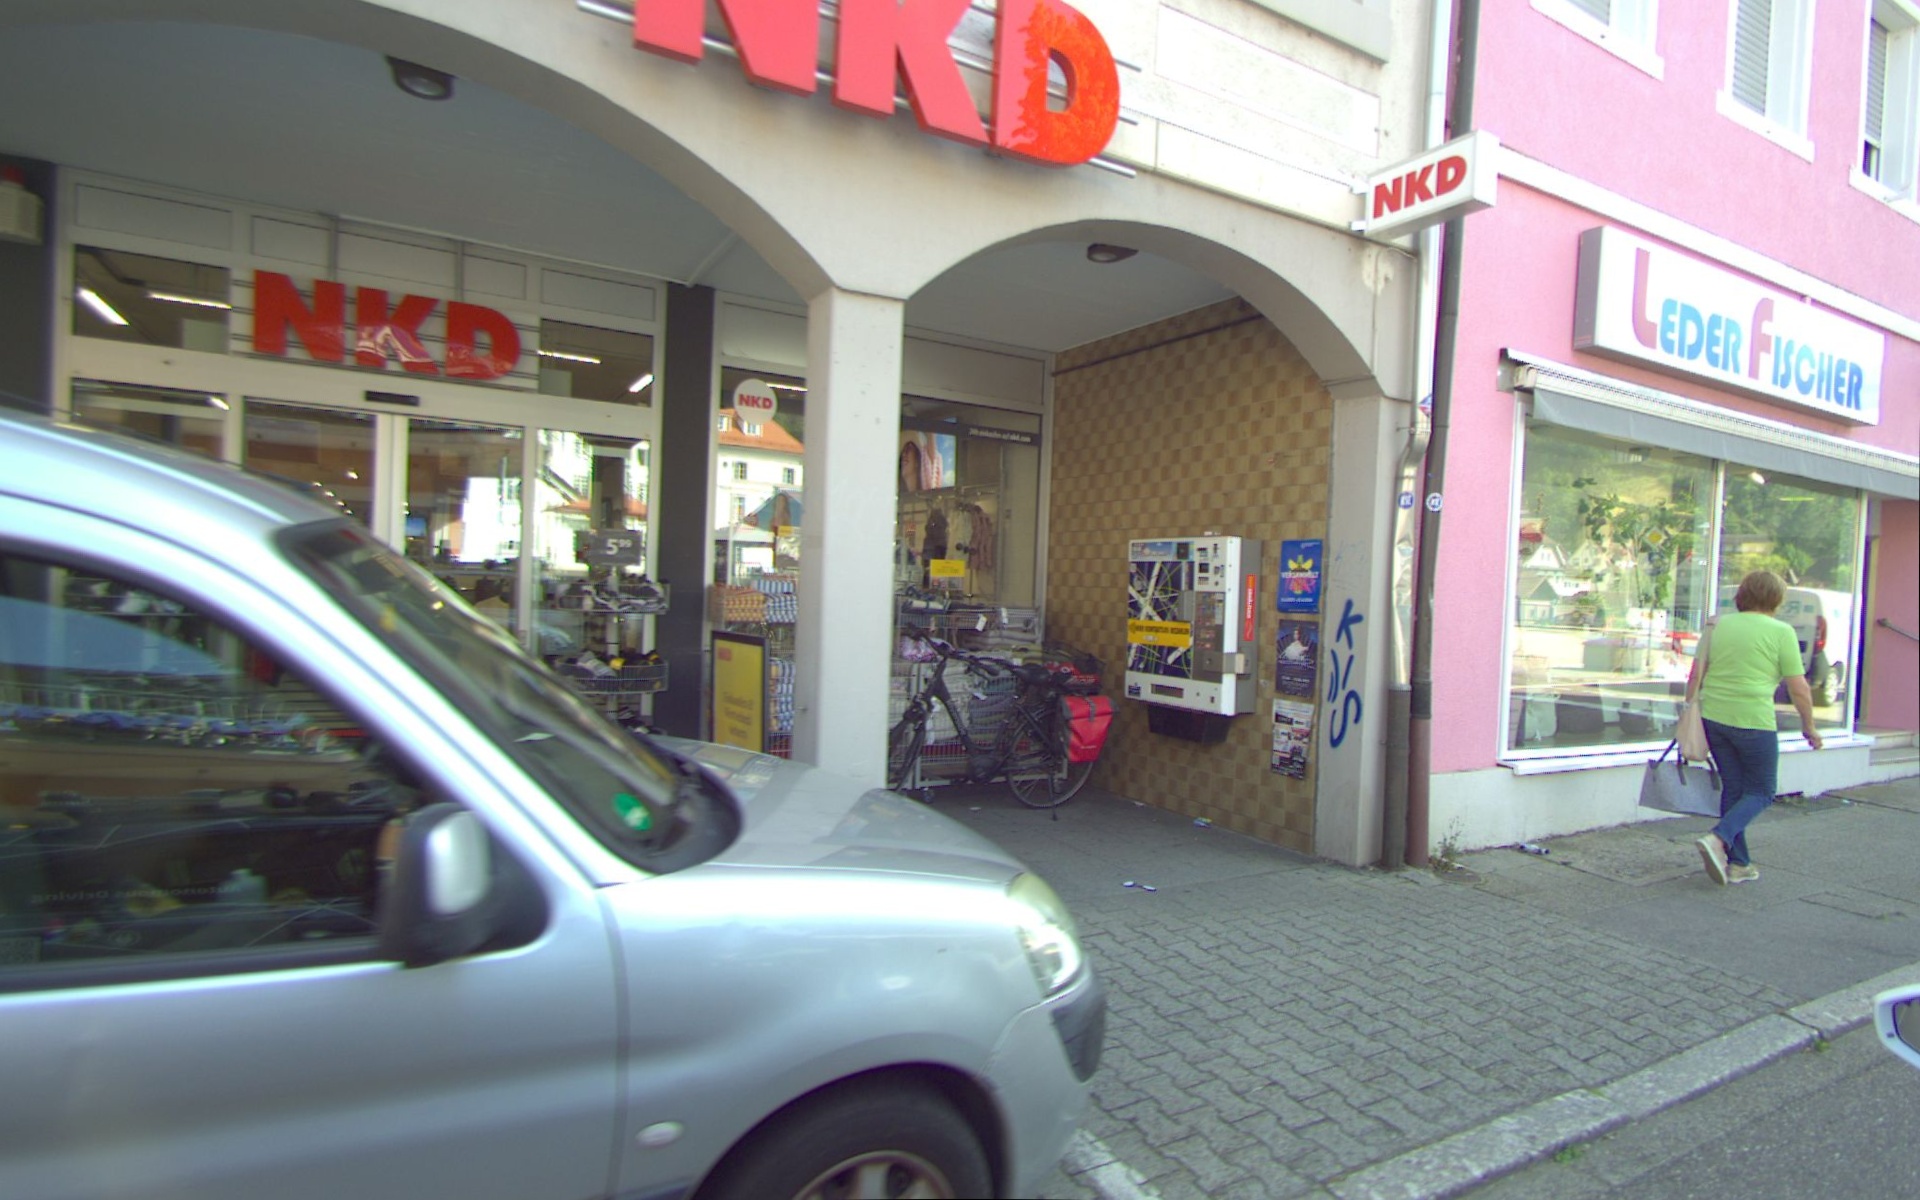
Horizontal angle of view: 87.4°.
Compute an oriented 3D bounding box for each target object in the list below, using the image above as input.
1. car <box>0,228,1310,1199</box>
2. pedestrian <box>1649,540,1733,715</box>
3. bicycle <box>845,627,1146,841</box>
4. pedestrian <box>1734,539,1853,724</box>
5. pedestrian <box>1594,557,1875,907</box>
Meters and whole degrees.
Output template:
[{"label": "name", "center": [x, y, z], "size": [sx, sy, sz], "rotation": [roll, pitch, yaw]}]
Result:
[{"label": "car", "center": [-1.502, 0.450, 1.766], "size": [4.098, 1.763, 1.698], "rotation": [1, 3, -31]}, {"label": "pedestrian", "center": [7.590, 0.272, 10.427], "size": [0.566, 1.745, 0.569], "rotation": [1, 1, -44]}, {"label": "bicycle", "center": [0.248, 0.749, 6.096], "size": [1.802, 1.137, 0.517], "rotation": [1, 1, -30]}, {"label": "pedestrian", "center": [8.210, 0.294, 9.929], "size": [0.702, 1.745, 0.674], "rotation": [2, 1, 25]}, {"label": "pedestrian", "center": [4.063, 0.630, 5.306], "size": [0.848, 1.654, 0.783], "rotation": [1, 3, -27]}]
